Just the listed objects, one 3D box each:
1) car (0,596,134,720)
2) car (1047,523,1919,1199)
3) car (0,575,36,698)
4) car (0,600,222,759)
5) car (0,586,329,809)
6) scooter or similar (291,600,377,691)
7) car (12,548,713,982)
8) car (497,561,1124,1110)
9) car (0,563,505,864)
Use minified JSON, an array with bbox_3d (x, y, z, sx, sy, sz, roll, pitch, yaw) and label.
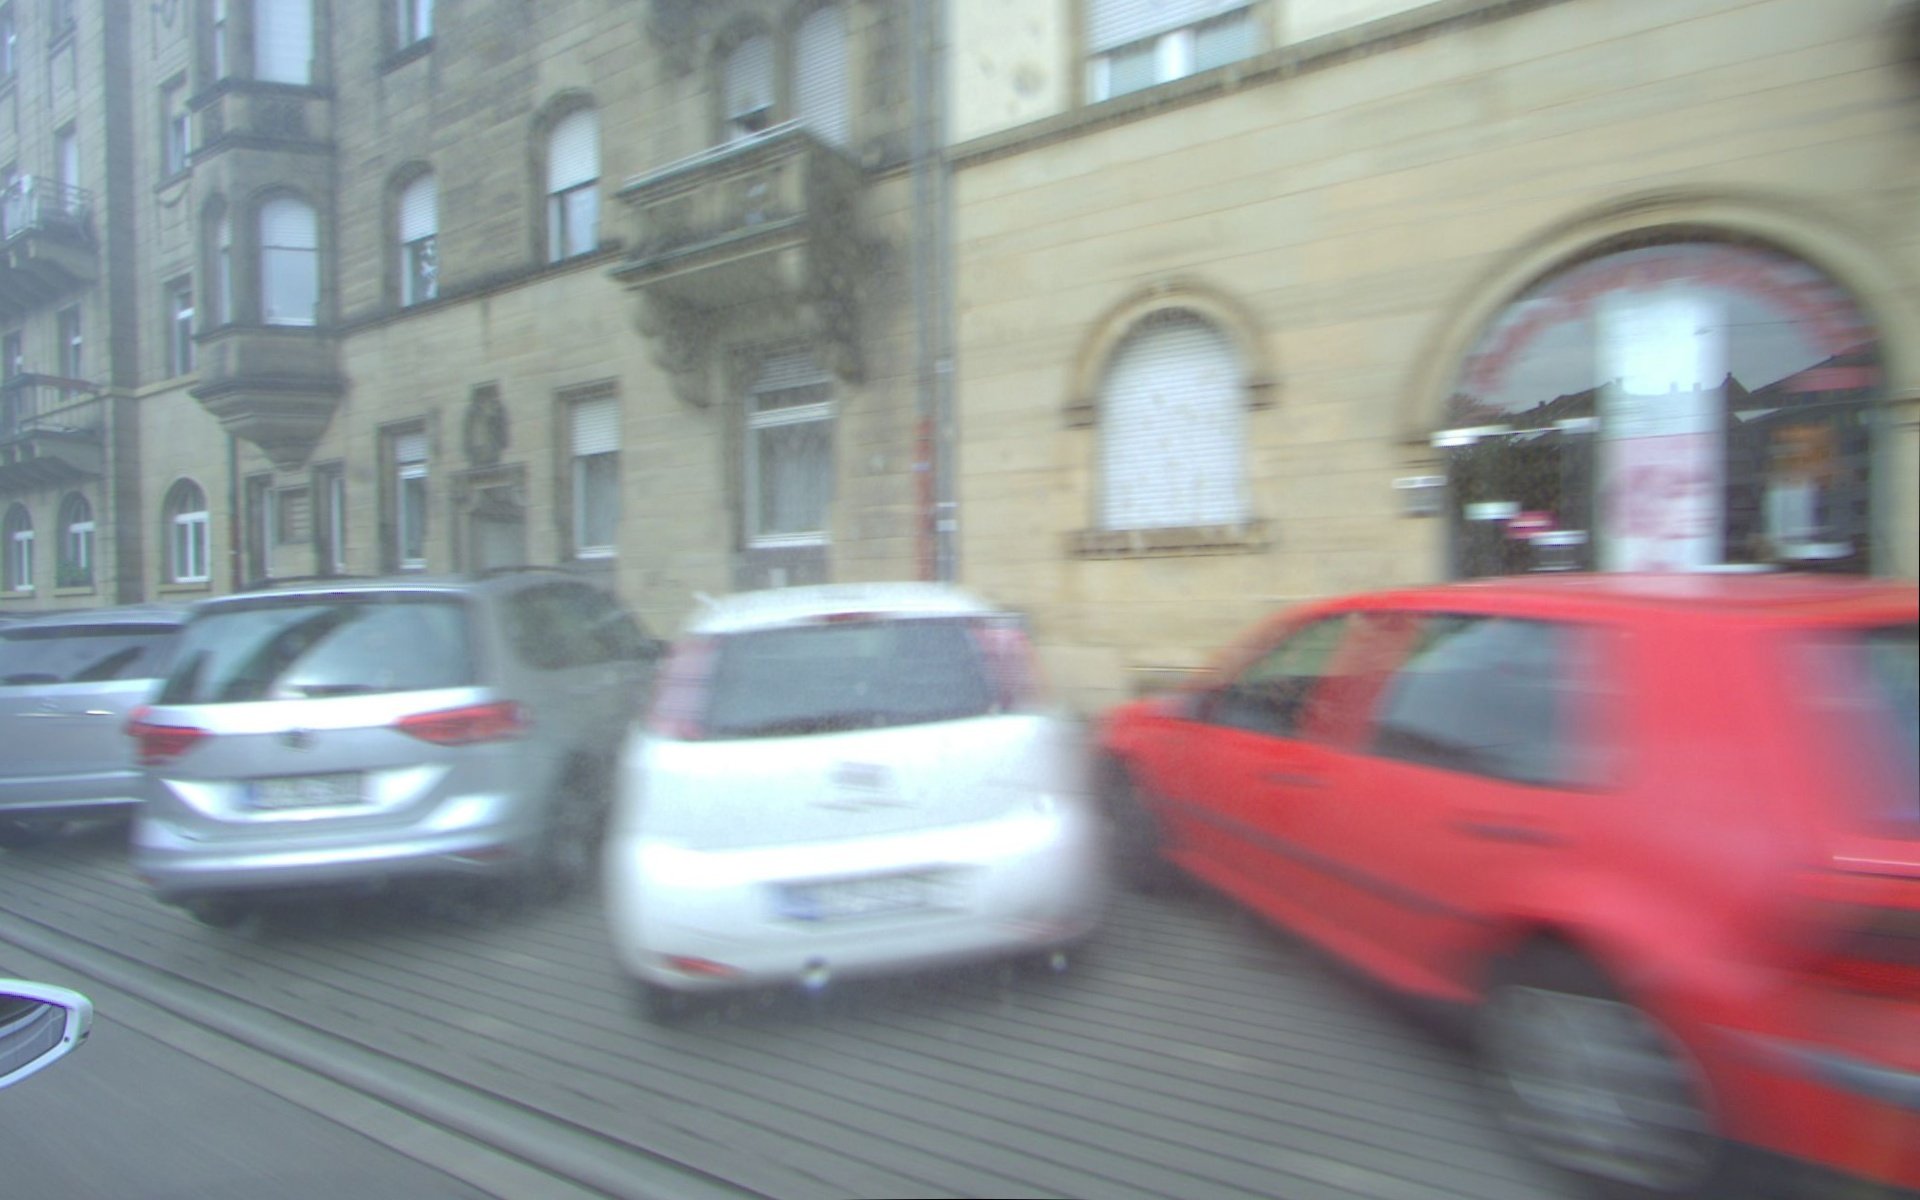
[{"bbox_3d":[-13.321,0.813,13.039,1.993,1.474,4.066,-2,3,-7],"label":"car"},{"bbox_3d":[1.805,0.586,3.527,1.762,1.583,3.826,-3,3,-15],"label":"car"},{"bbox_3d":[-15.862,0.646,14.258,1.844,1.933,4.276,-1,2,-10],"label":"car"},{"bbox_3d":[-10.650,0.807,11.237,1.816,1.573,4.462,-1,1,-7],"label":"car"},{"bbox_3d":[-8.164,0.723,9.675,1.714,1.596,4.460,-1,2,-7],"label":"car"},{"bbox_3d":[-8.778,0.643,14.037,1.201,1.204,0.432,-2,5,32],"label":"scooter or similar"},{"bbox_3d":[-2.938,0.647,6.202,1.879,1.705,4.223,-2,1,-3],"label":"car"},{"bbox_3d":[-0.695,0.624,4.799,1.814,1.529,3.583,-3,2,-10],"label":"car"},{"bbox_3d":[-5.611,0.627,8.155,1.899,1.708,4.749,-2,1,-5],"label":"car"}]
